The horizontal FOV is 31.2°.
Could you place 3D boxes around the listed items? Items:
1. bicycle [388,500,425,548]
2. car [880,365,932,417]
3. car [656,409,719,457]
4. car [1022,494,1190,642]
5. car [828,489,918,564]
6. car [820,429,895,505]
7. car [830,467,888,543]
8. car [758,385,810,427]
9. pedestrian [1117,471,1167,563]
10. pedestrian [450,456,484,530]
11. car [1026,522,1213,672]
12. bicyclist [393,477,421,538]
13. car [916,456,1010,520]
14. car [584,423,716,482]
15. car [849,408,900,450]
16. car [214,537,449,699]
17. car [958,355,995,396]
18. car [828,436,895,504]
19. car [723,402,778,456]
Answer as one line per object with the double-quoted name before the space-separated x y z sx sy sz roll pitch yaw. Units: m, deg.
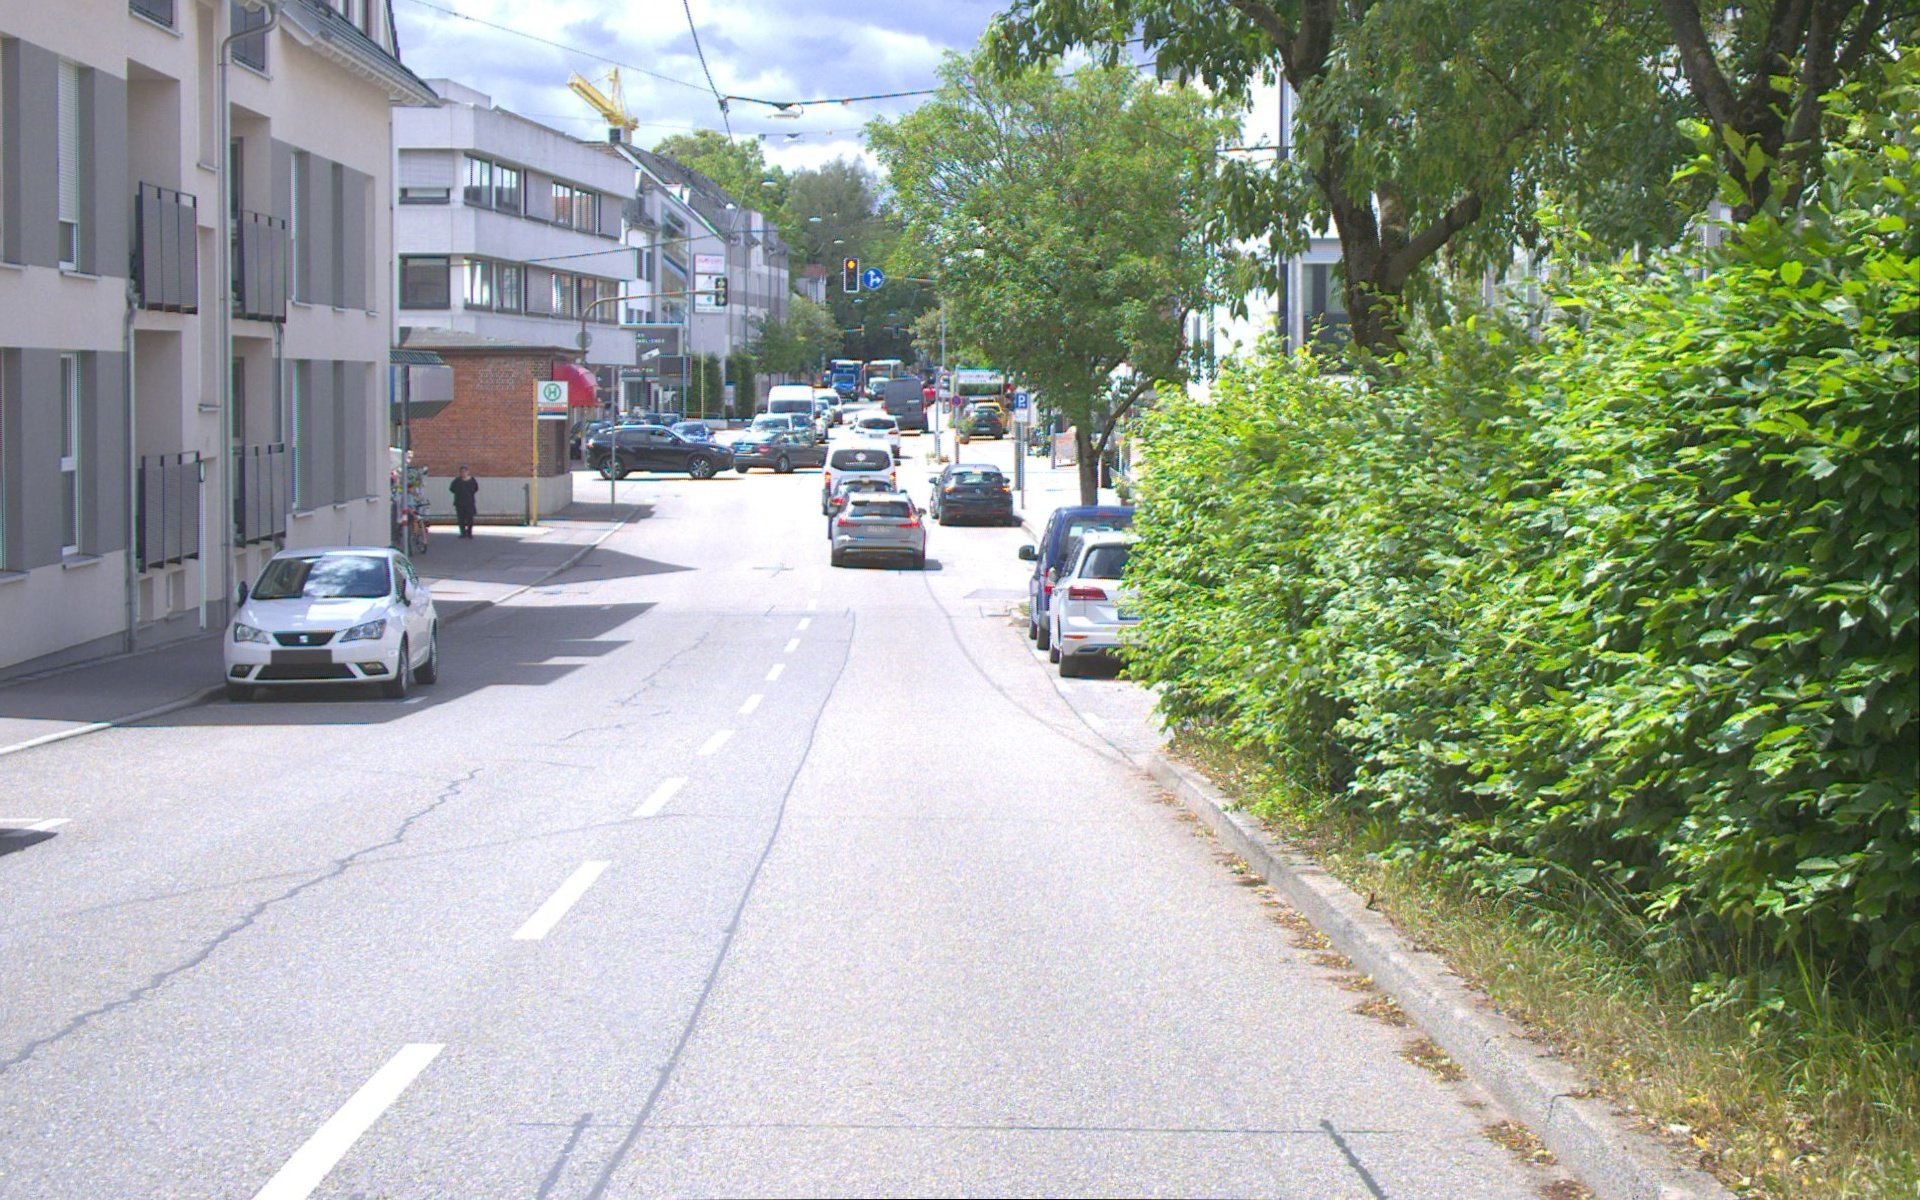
"bicycle" -10.985 -1.517 68.264 0.467 0.858 1.777 2 4 -1
"car" -2.655 -10.238 168.855 2.436 2.310 5.327 2 2 -1
"car" -10.112 -6.205 127.908 1.873 1.634 4.000 3 2 1
"car" 1.824 -0.455 44.270 1.844 1.761 4.515 2 2 -1
"car" -1.742 -1.503 69.206 1.744 1.412 4.001 1 2 -1
"car" -2.621 -3.406 88.409 1.836 1.855 3.851 2 2 -1
"car" -2.284 -2.164 77.904 1.273 1.522 3.051 1 5 -2
"car" -7.448 -8.224 145.912 1.873 1.634 4.000 1 1 1
"pedestrian" 3.342 -1.518 63.027 0.736 1.642 0.616 3 0 -7
"pedestrian" -10.772 -2.338 75.143 0.628 1.597 0.563 2 2 0
"car" 1.727 -0.081 38.501 1.786 1.504 4.365 2 2 -1
"bicyclist" -10.973 -1.837 68.215 0.458 1.175 0.625 1 3 -1
"car" 0.050 -2.786 84.853 1.752 1.366 4.002 1 4 -8
"car" -9.523 -4.529 105.649 3.648 1.609 1.576 2 2 -28
"car" -3.292 -6.608 133.164 1.888 1.503 4.000 0 1 -1
"car" -6.074 0.131 33.565 1.647 1.414 3.699 2 2 -1
"car" 0.856 -11.898 182.273 1.801 2.007 4.000 1 1 -1
"car" -2.819 -3.746 99.173 1.836 1.855 3.851 2 2 -1
"car" -6.878 -5.623 113.130 1.635 1.650 3.851 1 2 -1
